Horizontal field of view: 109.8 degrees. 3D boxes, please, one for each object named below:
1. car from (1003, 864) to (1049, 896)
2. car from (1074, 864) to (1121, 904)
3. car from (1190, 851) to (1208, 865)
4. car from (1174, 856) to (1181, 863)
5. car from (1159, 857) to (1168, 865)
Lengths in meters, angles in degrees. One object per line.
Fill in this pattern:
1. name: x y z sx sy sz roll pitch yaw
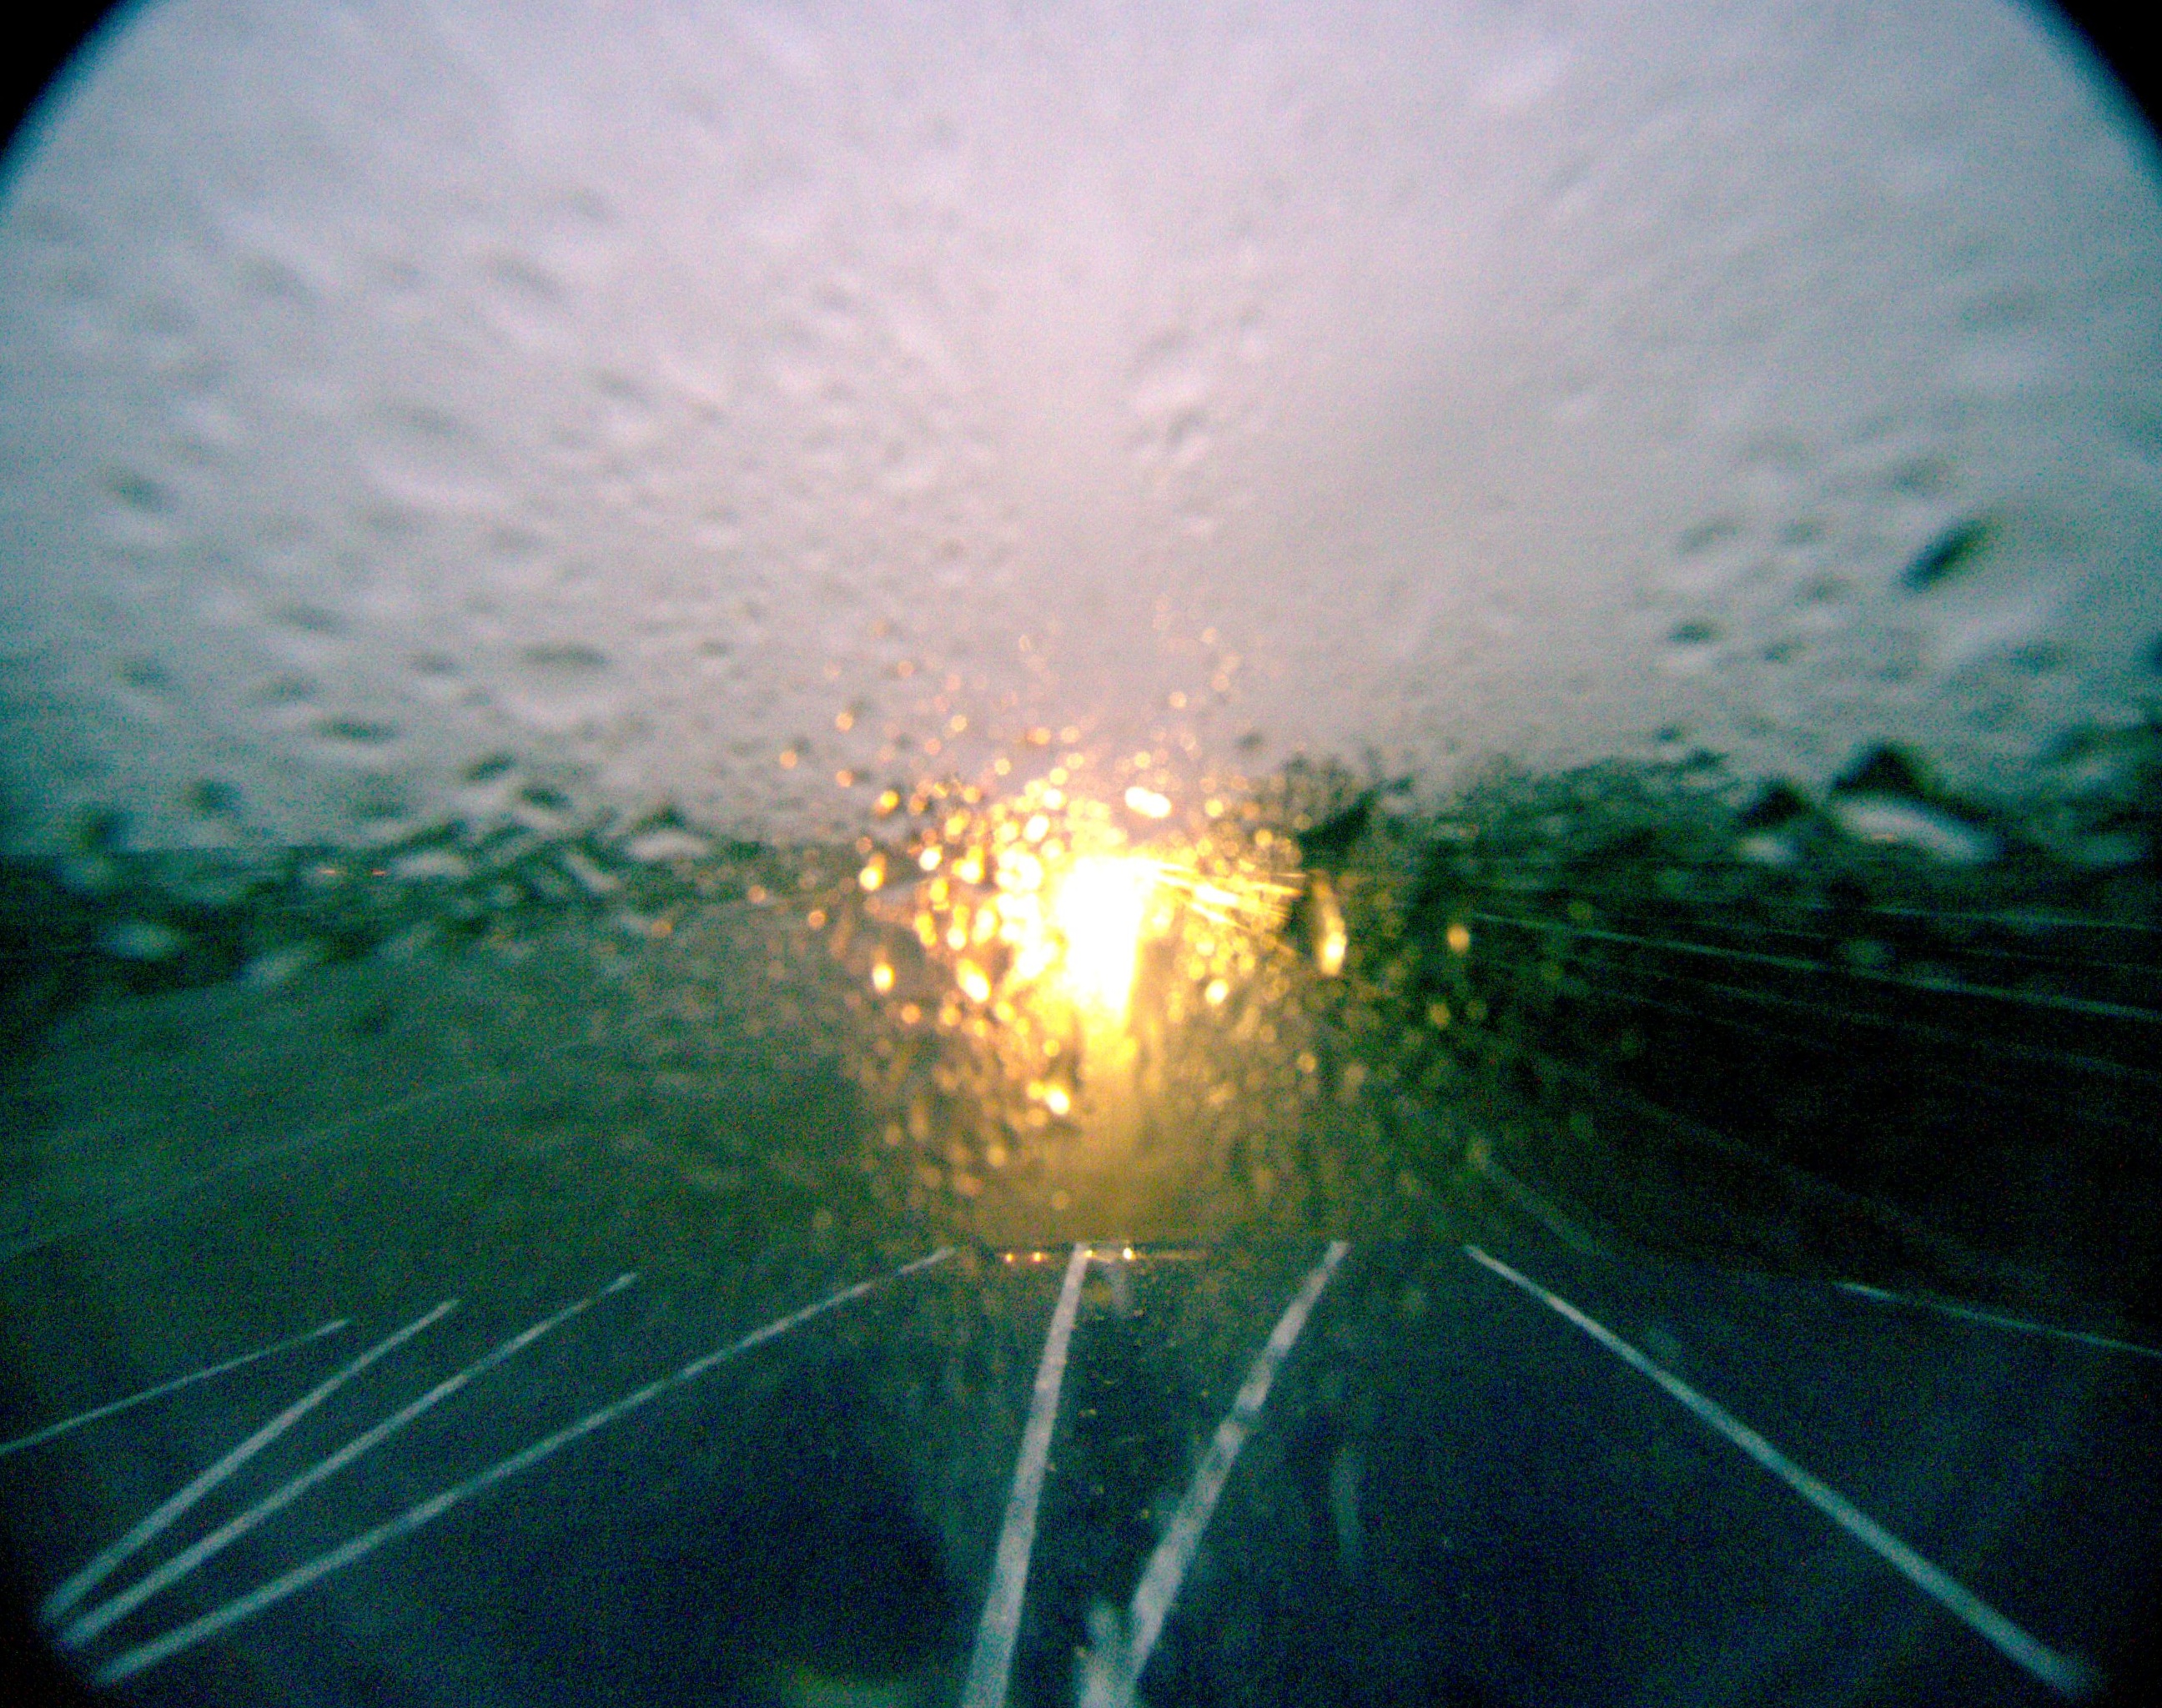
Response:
1. car: -2.765 1.306 39.199 1.850 1.521 4.149 -2 -1 2
2. car: 0.684 1.249 32.794 1.850 1.521 4.149 -2 -1 1
3. car: 15.711 0.555 101.386 1.900 1.773 4.705 -3 0 2
4. car: 25.444 1.360 200.907 1.749 1.823 4.136 -1 1 5
5. car: 17.821 1.460 164.596 1.744 1.630 4.002 -4 0 5
